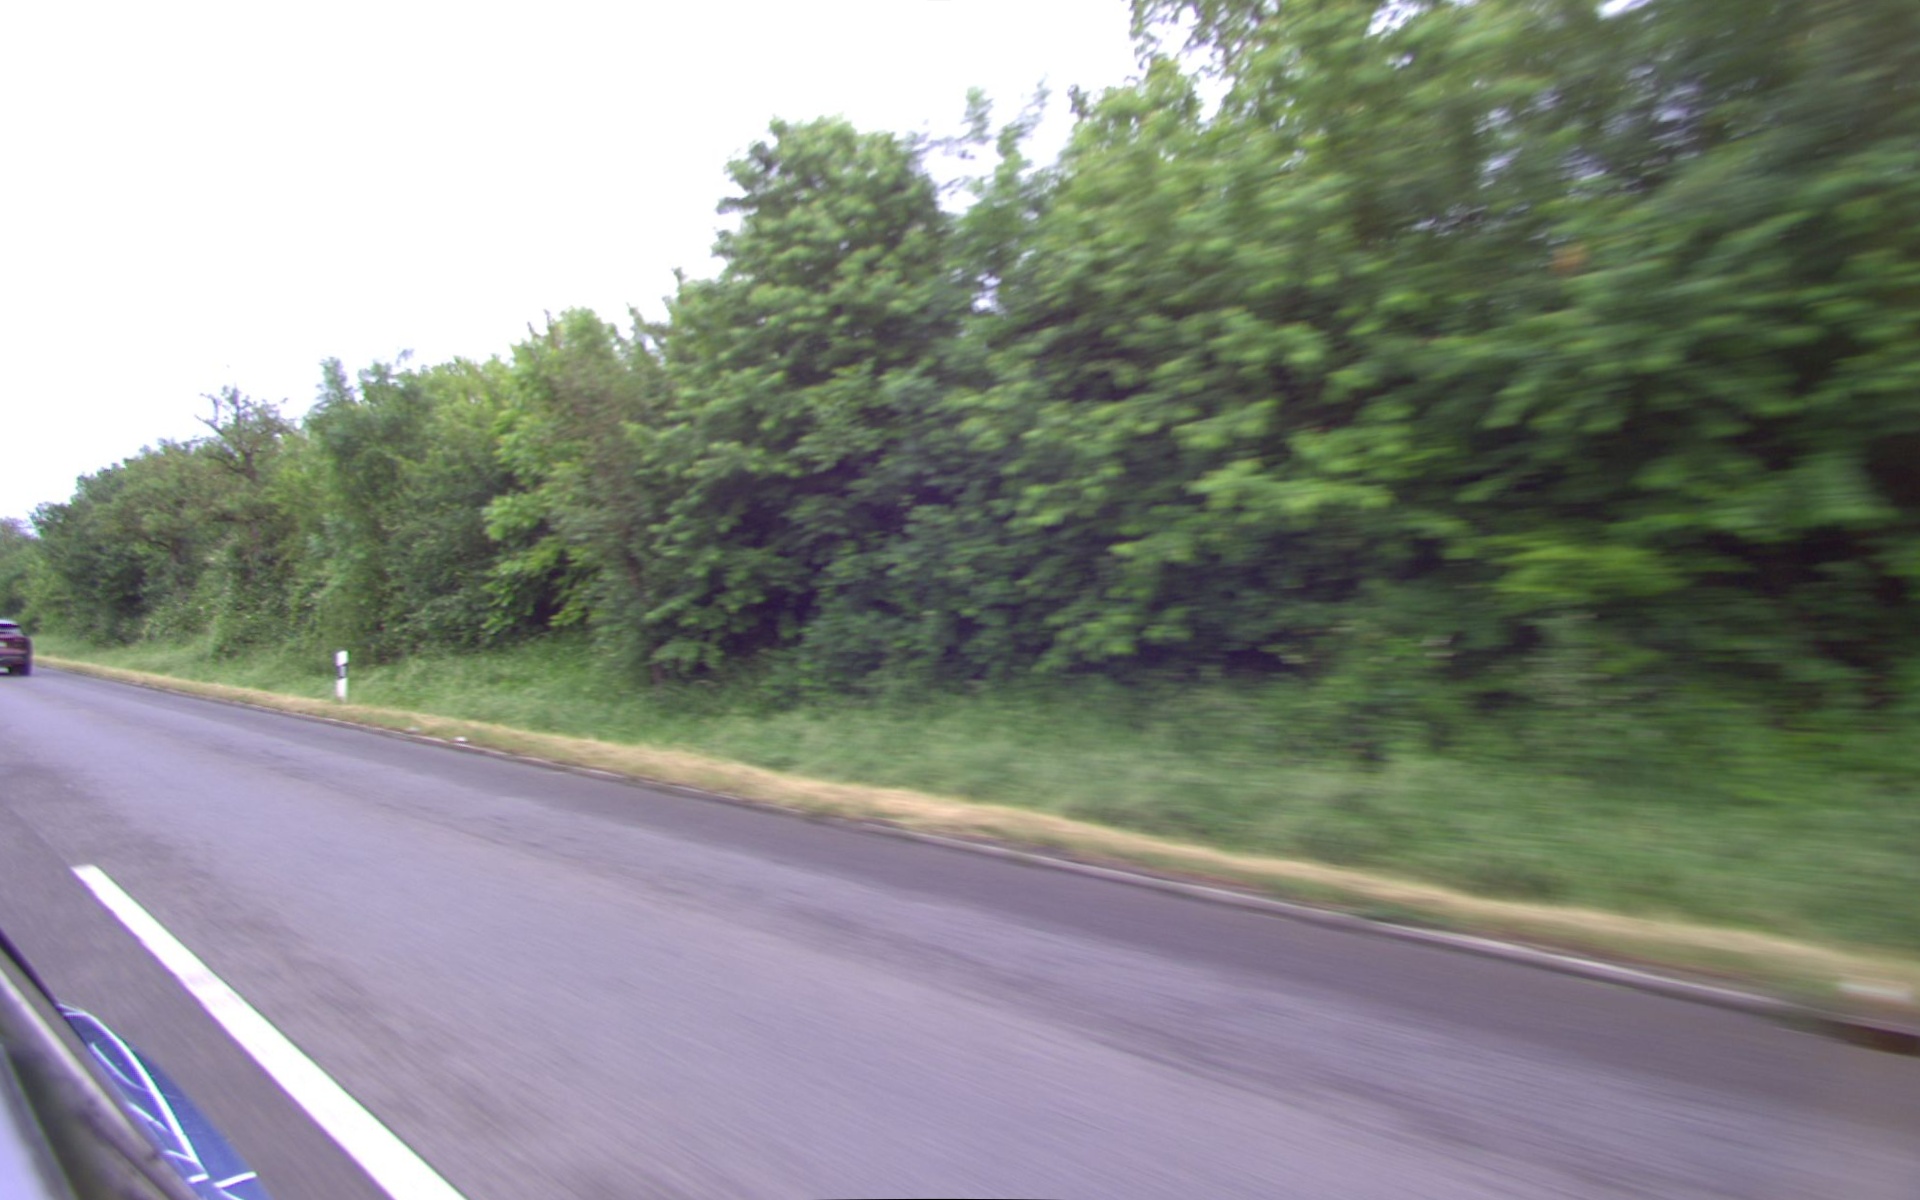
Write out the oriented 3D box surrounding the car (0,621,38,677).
[{"bbox_3d":[-28.812,1.408,29.810,4.512,1.568,1.886,-1,-2,40],"label":"car"}]
